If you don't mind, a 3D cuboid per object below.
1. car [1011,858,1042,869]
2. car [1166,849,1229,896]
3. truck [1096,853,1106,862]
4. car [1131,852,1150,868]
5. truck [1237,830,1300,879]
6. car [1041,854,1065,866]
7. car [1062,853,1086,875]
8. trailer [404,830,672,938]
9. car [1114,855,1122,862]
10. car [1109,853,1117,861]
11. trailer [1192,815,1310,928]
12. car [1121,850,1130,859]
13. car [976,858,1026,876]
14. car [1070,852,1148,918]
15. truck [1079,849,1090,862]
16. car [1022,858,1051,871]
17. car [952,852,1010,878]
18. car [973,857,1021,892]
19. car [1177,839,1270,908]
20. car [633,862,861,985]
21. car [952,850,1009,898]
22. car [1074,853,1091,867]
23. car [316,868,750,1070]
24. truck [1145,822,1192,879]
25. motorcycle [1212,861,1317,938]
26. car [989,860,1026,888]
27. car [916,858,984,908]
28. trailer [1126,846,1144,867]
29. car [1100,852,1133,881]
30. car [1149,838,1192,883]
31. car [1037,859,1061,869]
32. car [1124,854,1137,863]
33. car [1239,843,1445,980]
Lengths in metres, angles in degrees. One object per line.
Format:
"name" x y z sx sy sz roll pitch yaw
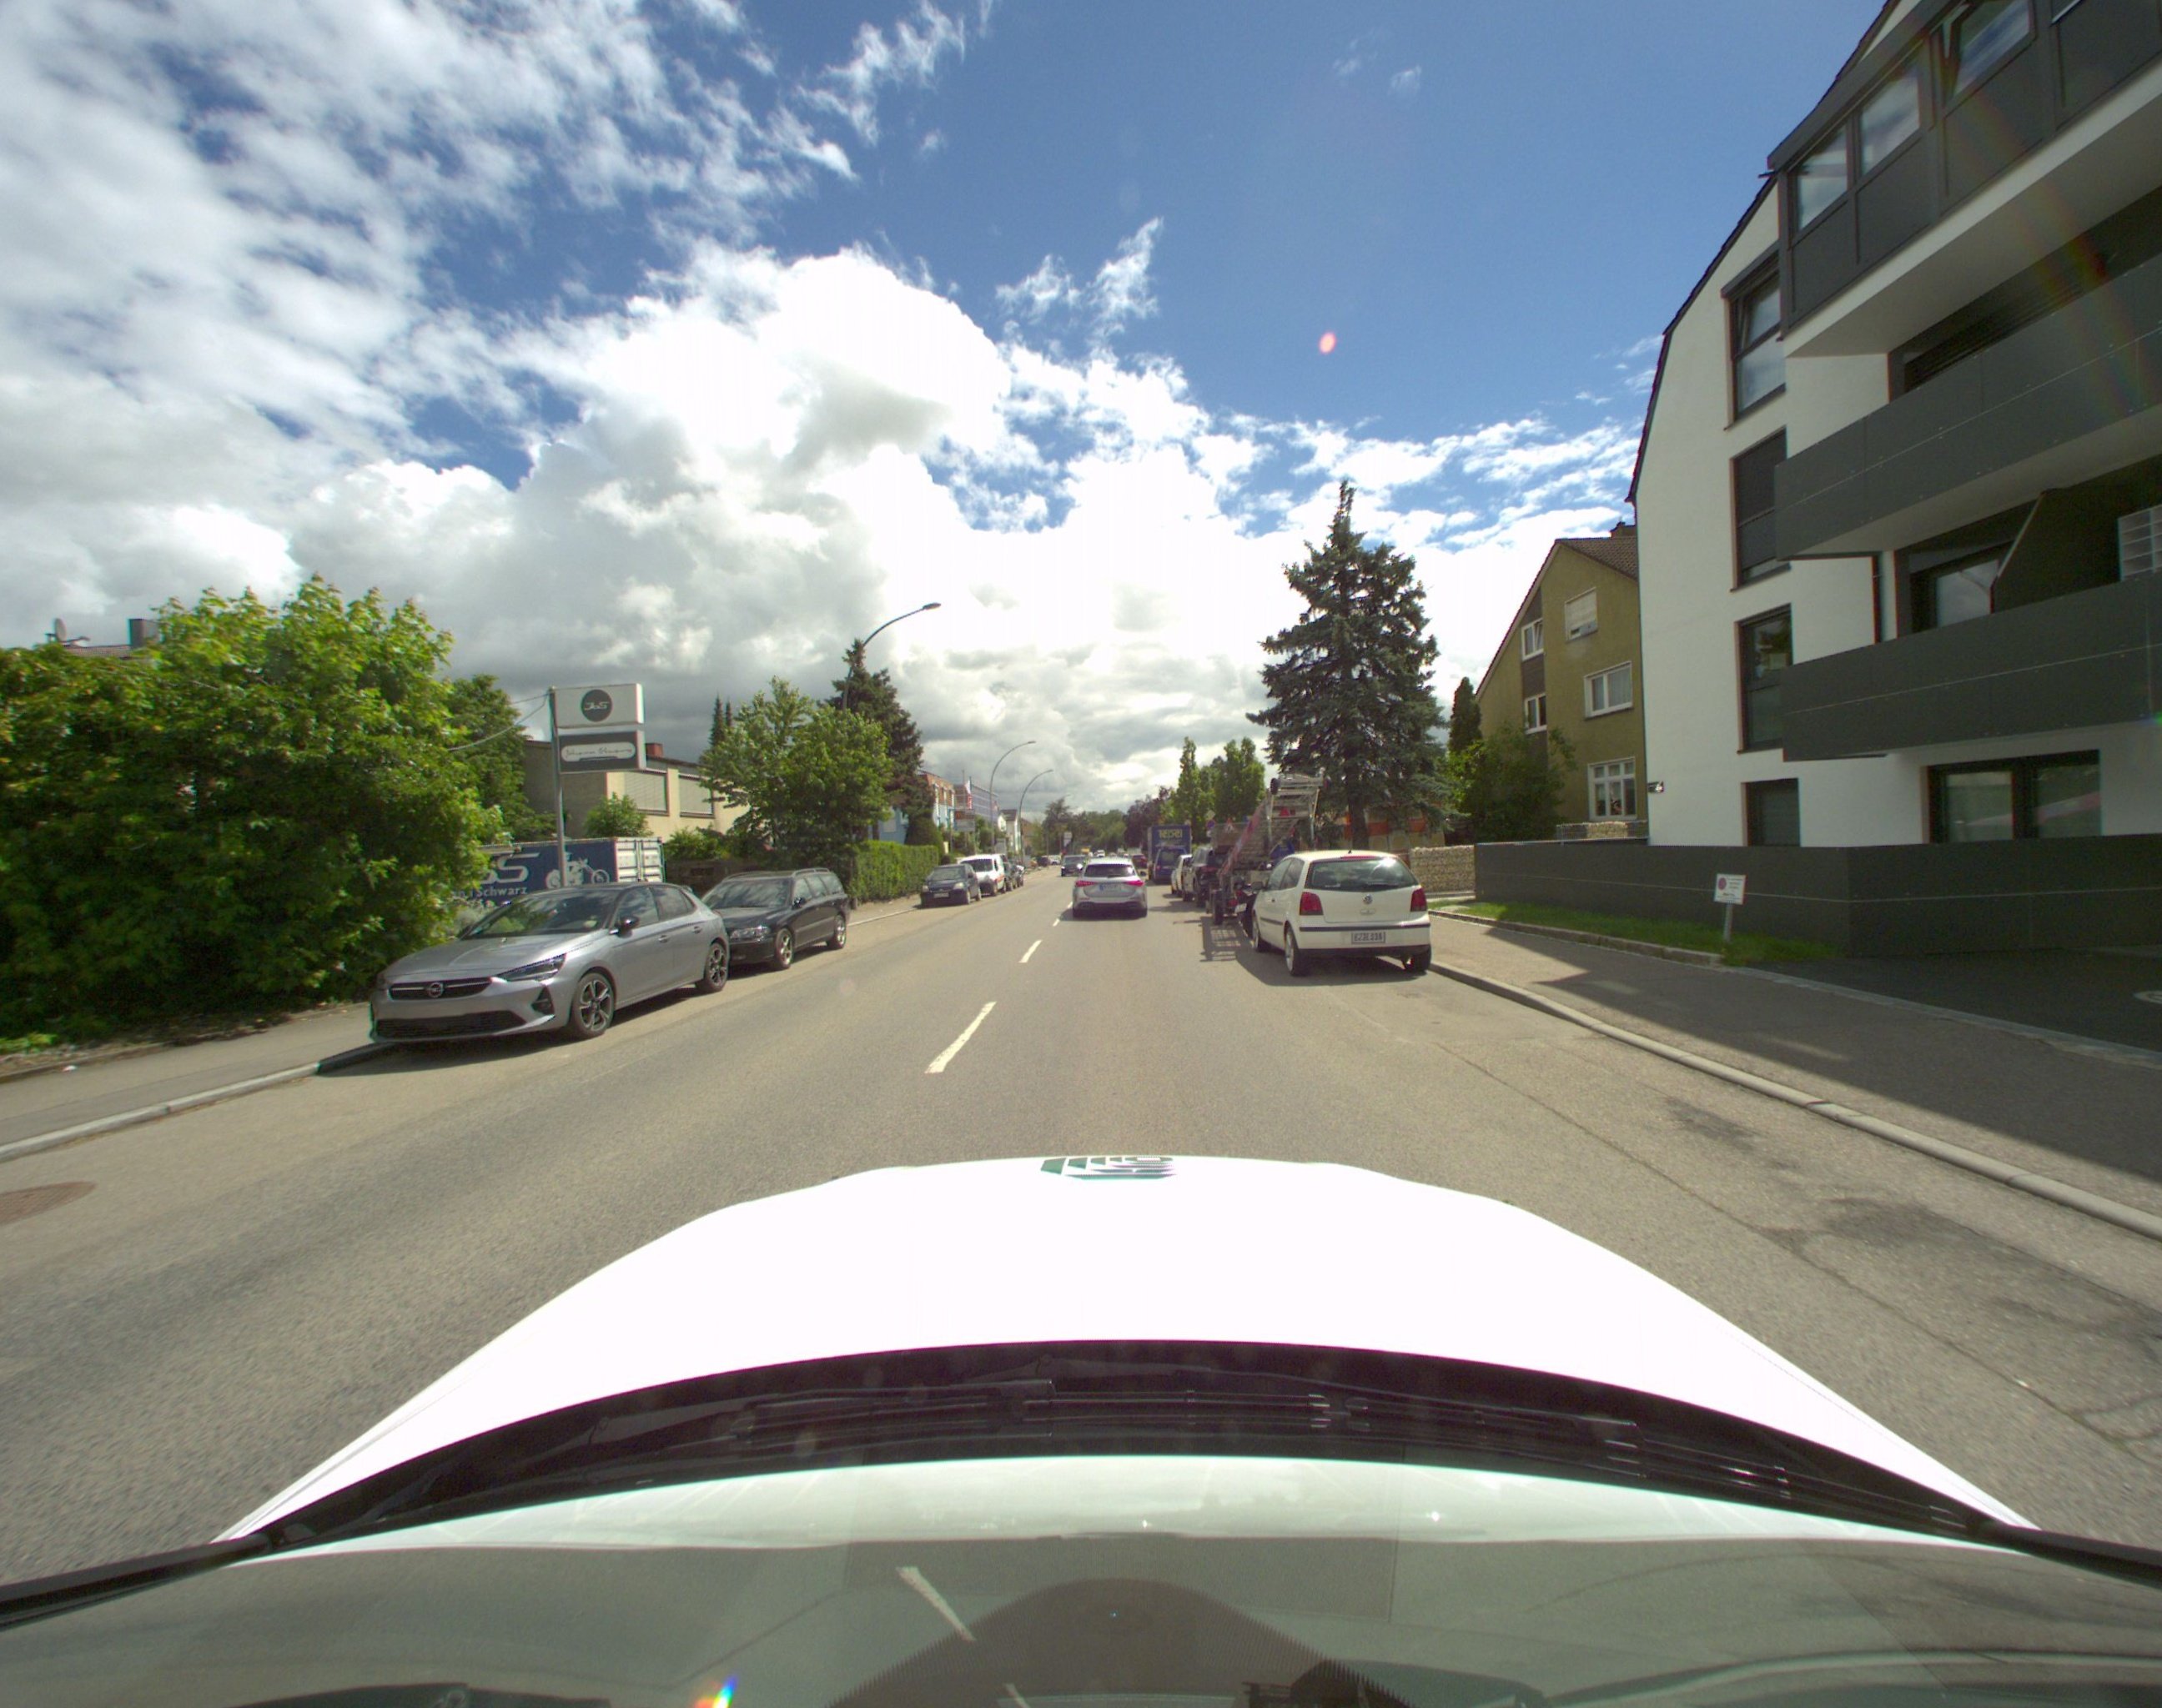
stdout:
"car" -7.493 1.346 111.828 4.138 1.492 1.825 0 0 -2
"car" 4.162 0.631 29.666 1.766 1.508 4.002 -3 0 2
"truck" 5.228 0.948 210.413 2.308 2.178 6.456 -3 0 4
"car" 6.412 0.624 87.592 1.933 1.571 4.451 -3 0 4
"truck" 9.161 -0.060 40.224 1.823 2.081 5.387 -5 1 1
"car" -5.257 1.121 153.301 4.265 1.836 1.991 -3 -3 0
"car" -0.518 0.757 65.209 1.737 1.627 4.357 -2 0 2
"trailer" -16.514 0.861 25.074 6.218 2.651 2.734 -5 0 2
"car" 9.967 1.255 218.892 1.778 1.715 4.316 -1 -1 0
"car" 6.655 0.716 169.824 1.749 1.558 4.001 -2 0 1
"trailer" 3.602 0.330 17.996 1.766 2.144 4.115 -3 0 1
"car" 10.616 0.171 193.718 2.136 1.984 5.264 -3 0 2
"car" -7.455 1.201 76.178 4.358 1.478 1.872 -2 -1 2
"car" 0.665 0.721 21.063 1.778 1.484 4.316 -1 0 0
"truck" 0.877 0.309 192.289 2.066 2.814 7.084 -3 0 3
"car" -7.470 1.771 135.697 4.614 1.632 2.196 -5 0 -2
"car" -8.378 0.929 68.547 4.639 1.972 2.114 -2 0 -2
"car" -4.161 0.997 41.144 1.737 1.472 4.645 -5 0 1
"car" 4.073 0.508 23.996 1.867 1.727 4.713 -3 0 0
"car" -5.207 0.977 13.510 1.714 1.493 4.735 -3 0 0
"car" -4.322 0.807 35.548 1.737 1.838 4.356 -5 0 1
"car" 0.187 0.708 105.368 1.986 1.615 4.412 -4 0 1
"car" -5.352 0.981 8.787 1.714 1.432 4.199 -4 0 0
"truck" 5.004 -0.215 47.321 2.311 3.097 6.046 0 0 2
"motorcycle" 3.273 0.782 14.485 1.830 1.210 0.710 -3 0 -34
"car" -4.116 1.109 46.200 1.625 1.303 4.116 -5 0 0
"car" -4.682 1.006 29.646 1.634 1.487 4.001 -5 0 1
"trailer" 6.519 0.296 98.926 1.935 2.294 4.446 -3 0 1
"car" 2.001 0.676 46.788 1.749 1.558 4.001 -2 0 1
"car" 4.539 0.300 41.894 1.866 2.169 4.467 0 0 2
"car" -5.831 1.864 148.184 4.263 1.567 1.992 -3 -3 2
"car" 8.181 0.737 134.935 1.786 1.450 4.362 -3 0 0
"car" 3.318 0.626 11.154 1.712 1.432 3.988 -4 0 4
